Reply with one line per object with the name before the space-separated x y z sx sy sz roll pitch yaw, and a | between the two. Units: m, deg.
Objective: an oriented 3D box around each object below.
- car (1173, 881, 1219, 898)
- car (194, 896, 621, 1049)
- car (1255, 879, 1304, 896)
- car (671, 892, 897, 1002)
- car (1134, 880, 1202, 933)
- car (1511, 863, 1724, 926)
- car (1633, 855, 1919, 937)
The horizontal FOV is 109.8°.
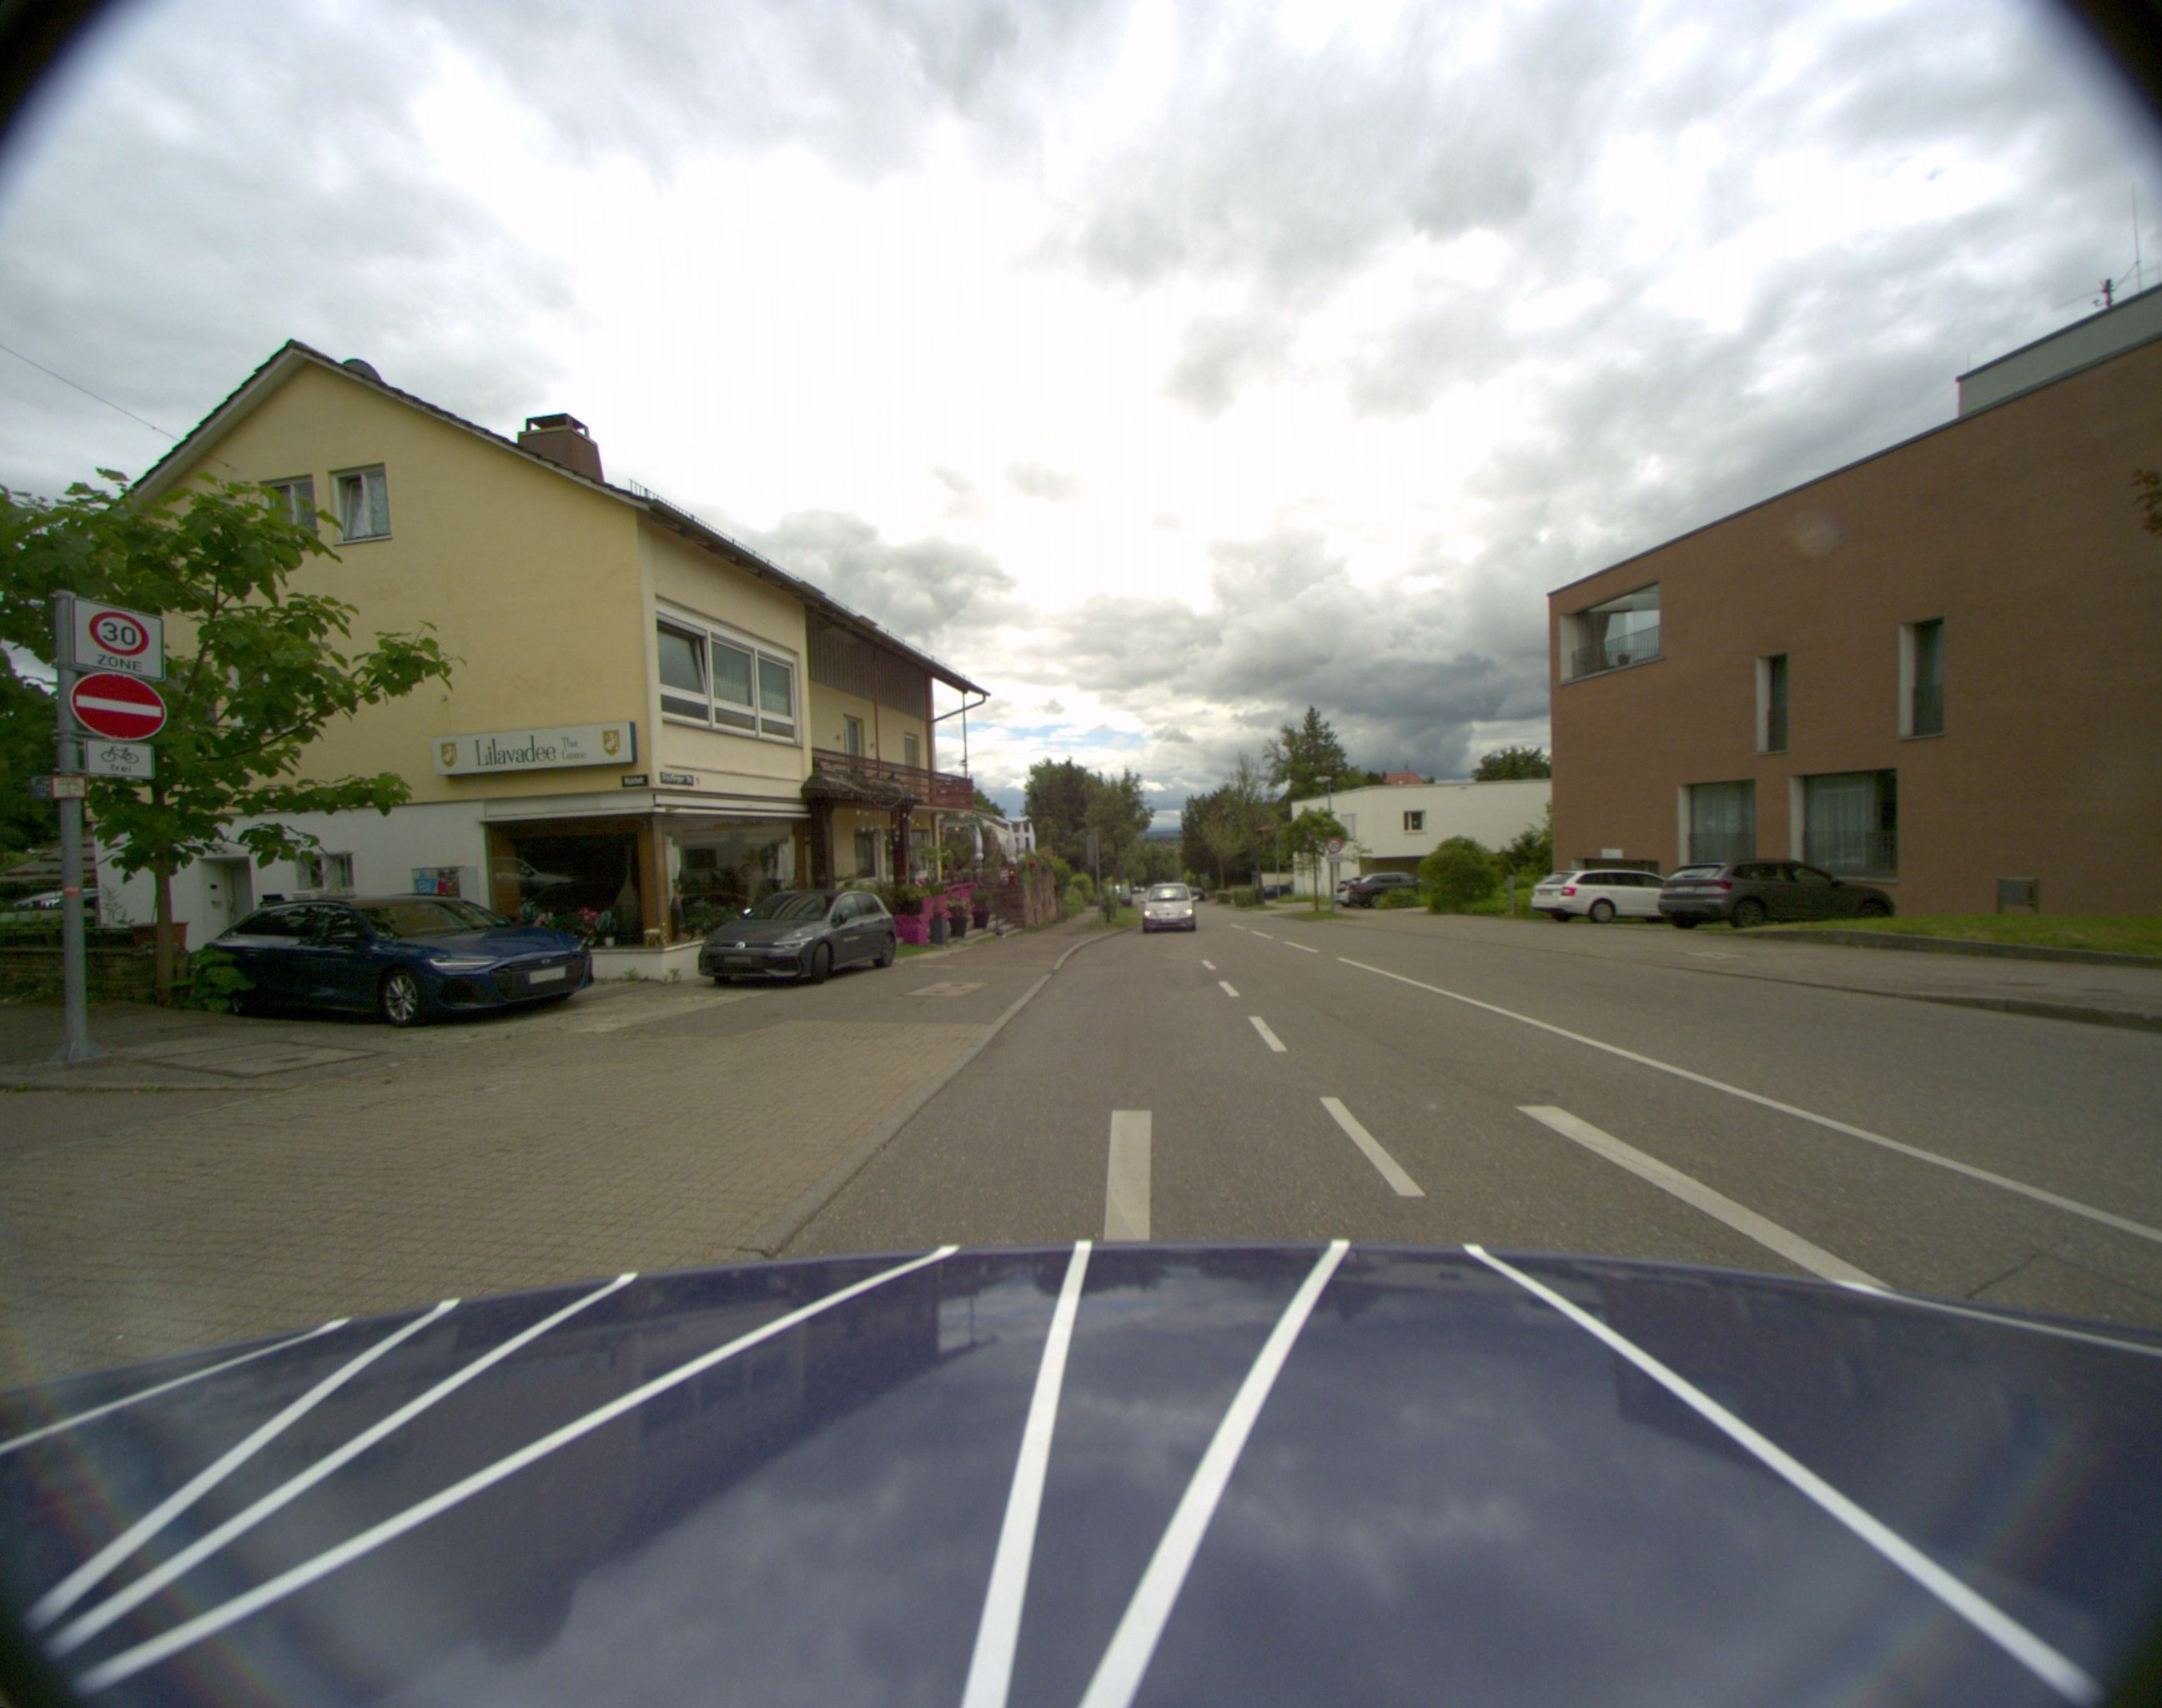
car | 11.881 3.628 78.699 4.434 1.549 2.000 -2 0 -1
car | -8.185 1.339 9.346 4.220 1.519 1.935 -2 -2 16
car | 20.210 3.385 77.356 4.434 1.548 2.000 -1 -1 -1
car | -4.652 1.406 12.577 1.873 1.483 3.886 -2 -3 6
car | 3.040 1.757 25.813 1.997 1.585 4.005 -3 -3 9
car | 14.570 1.069 20.836 4.434 1.548 2.000 -1 -1 -1
car | 14.970 0.874 16.562 4.434 1.548 2.000 -1 -1 -1
